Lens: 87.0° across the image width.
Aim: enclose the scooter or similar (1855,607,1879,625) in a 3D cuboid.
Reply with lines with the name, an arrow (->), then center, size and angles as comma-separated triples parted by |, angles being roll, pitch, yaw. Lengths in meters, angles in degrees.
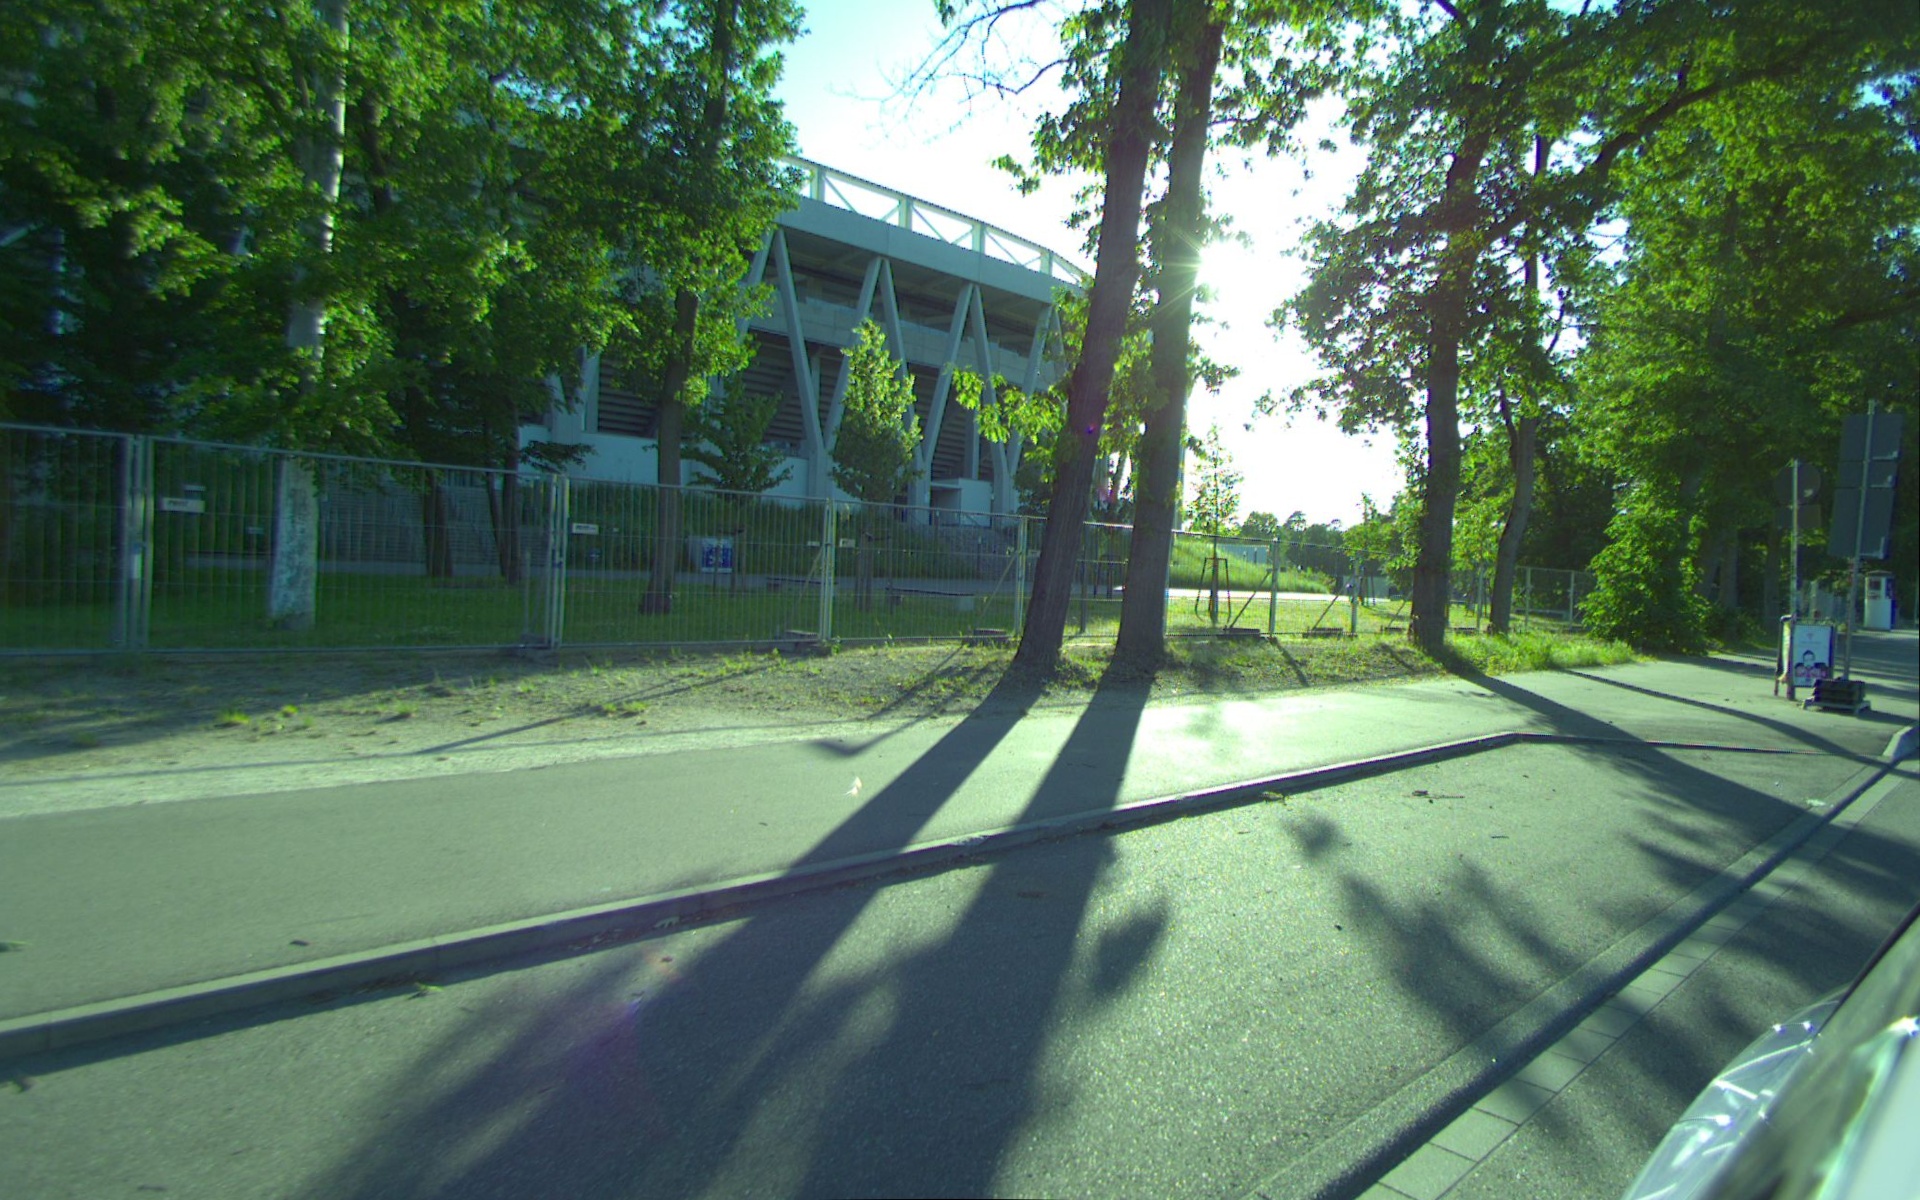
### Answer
scooter or similar -> 67.524, 1.209, 75.345 | 1.281, 1.253, 0.334 | 3, 1, 12
